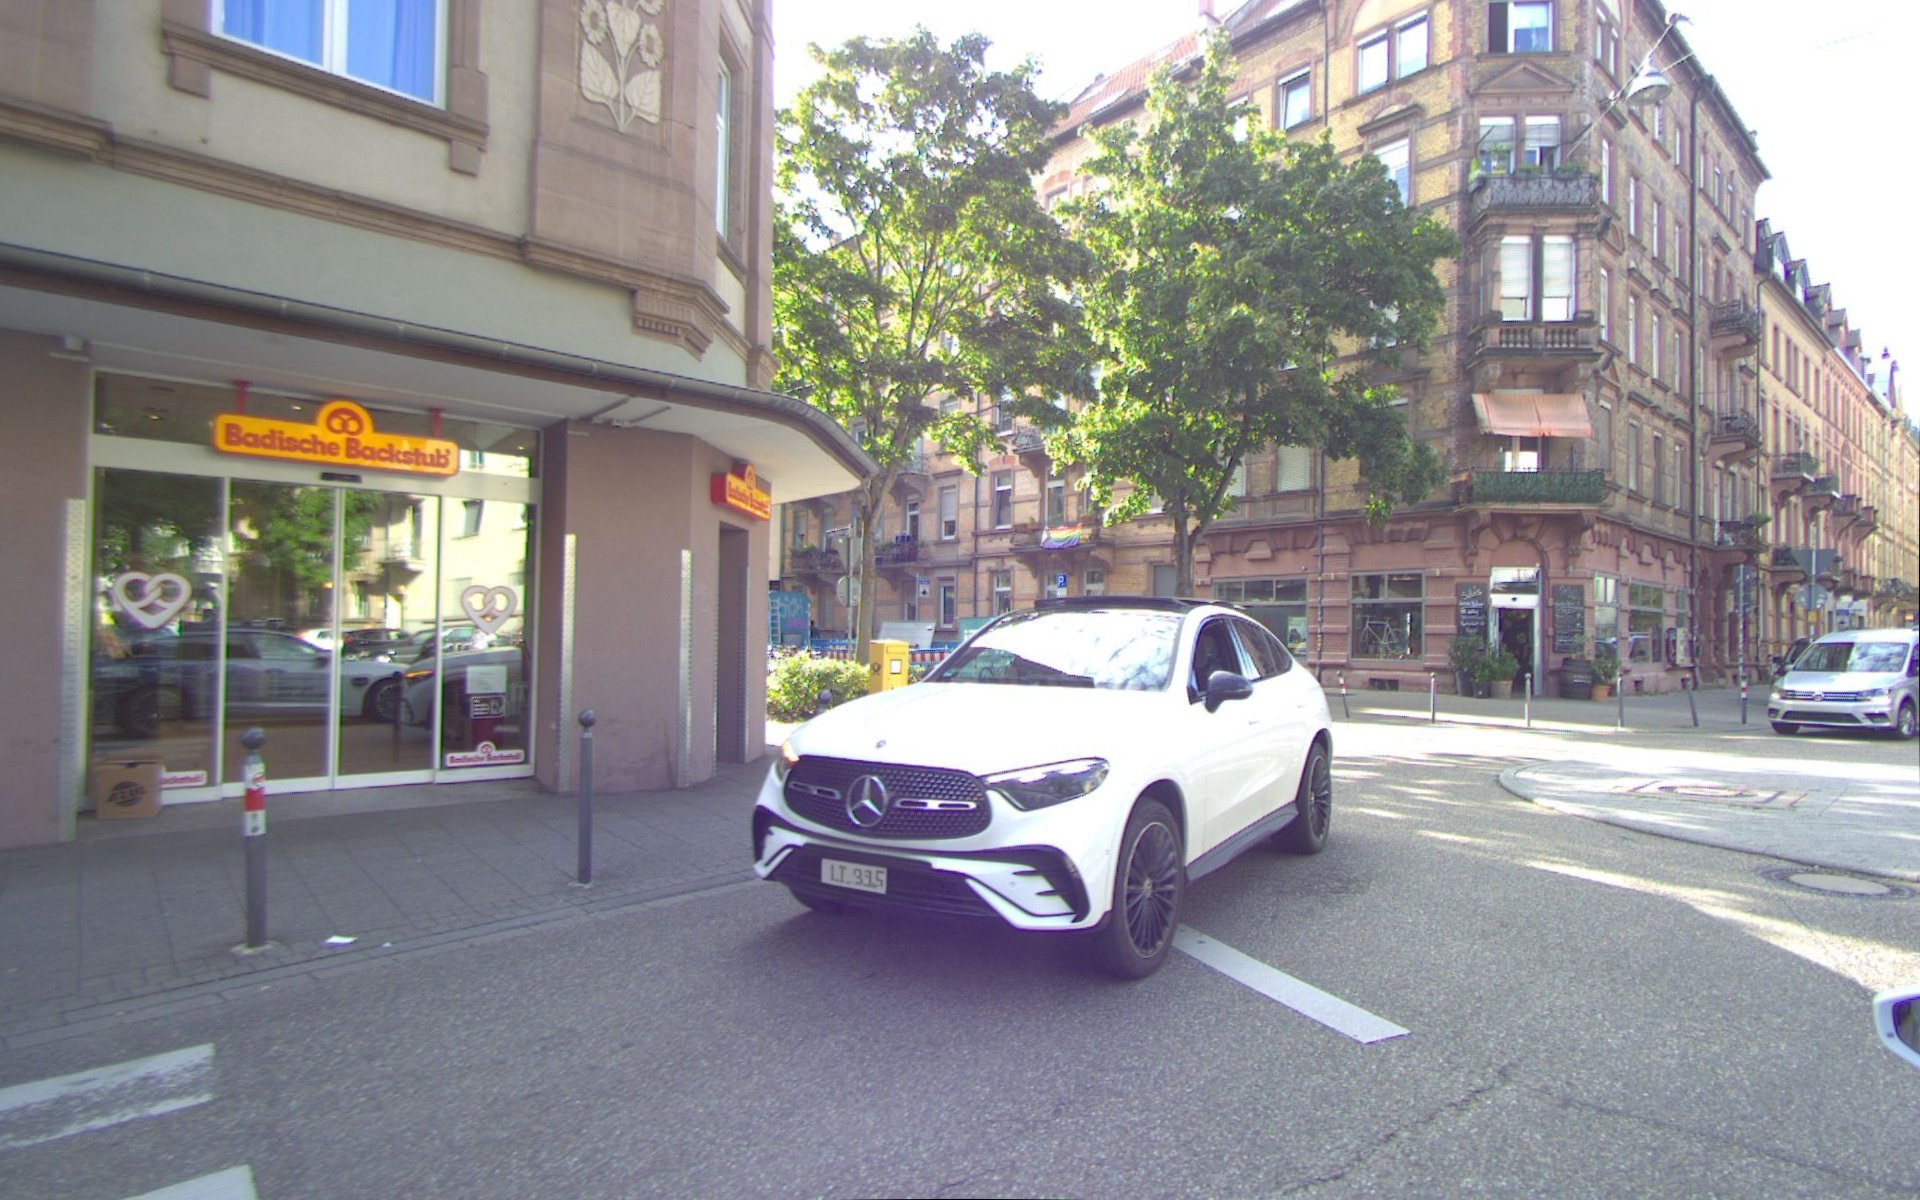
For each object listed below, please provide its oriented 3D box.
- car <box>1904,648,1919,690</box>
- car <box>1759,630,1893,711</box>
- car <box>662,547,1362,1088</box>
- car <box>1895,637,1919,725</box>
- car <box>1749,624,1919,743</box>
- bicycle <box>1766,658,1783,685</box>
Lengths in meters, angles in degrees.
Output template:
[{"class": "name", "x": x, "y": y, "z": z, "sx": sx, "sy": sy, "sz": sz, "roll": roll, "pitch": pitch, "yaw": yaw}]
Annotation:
[{"class": "car", "x": 44.852, "y": 3.135, "z": 45.897, "sx": 4.250, "sy": 1.747, "sz": 1.913, "roll": 0, "pitch": -2, "yaw": -39}, {"class": "car", "x": 21.655, "y": 1.670, "z": 25.068, "sx": 4.406, "sy": 1.748, "sz": 1.768, "roll": 0, "pitch": 0, "yaw": -39}, {"class": "car", "x": 0.826, "y": 0.782, "z": 5.823, "sx": 1.916, "sy": 1.744, "sz": 4.837, "roll": -2, "pitch": -2, "yaw": 32}, {"class": "car", "x": 21.253, "y": 1.656, "z": 20.937, "sx": 4.695, "sy": 1.747, "sz": 1.913, "roll": 2, "pitch": -4, "yaw": -39}, {"class": "car", "x": 15.693, "y": 1.368, "z": 17.323, "sx": 4.683, "sy": 1.814, "sz": 1.784, "roll": 2, "pitch": -3, "yaw": -32}, {"class": "bicycle", "x": 30.600, "y": 2.669, "z": 37.732, "sx": 0.356, "sy": 0.959, "sz": 1.705, "roll": 0, "pitch": -1, "yaw": 44}]
